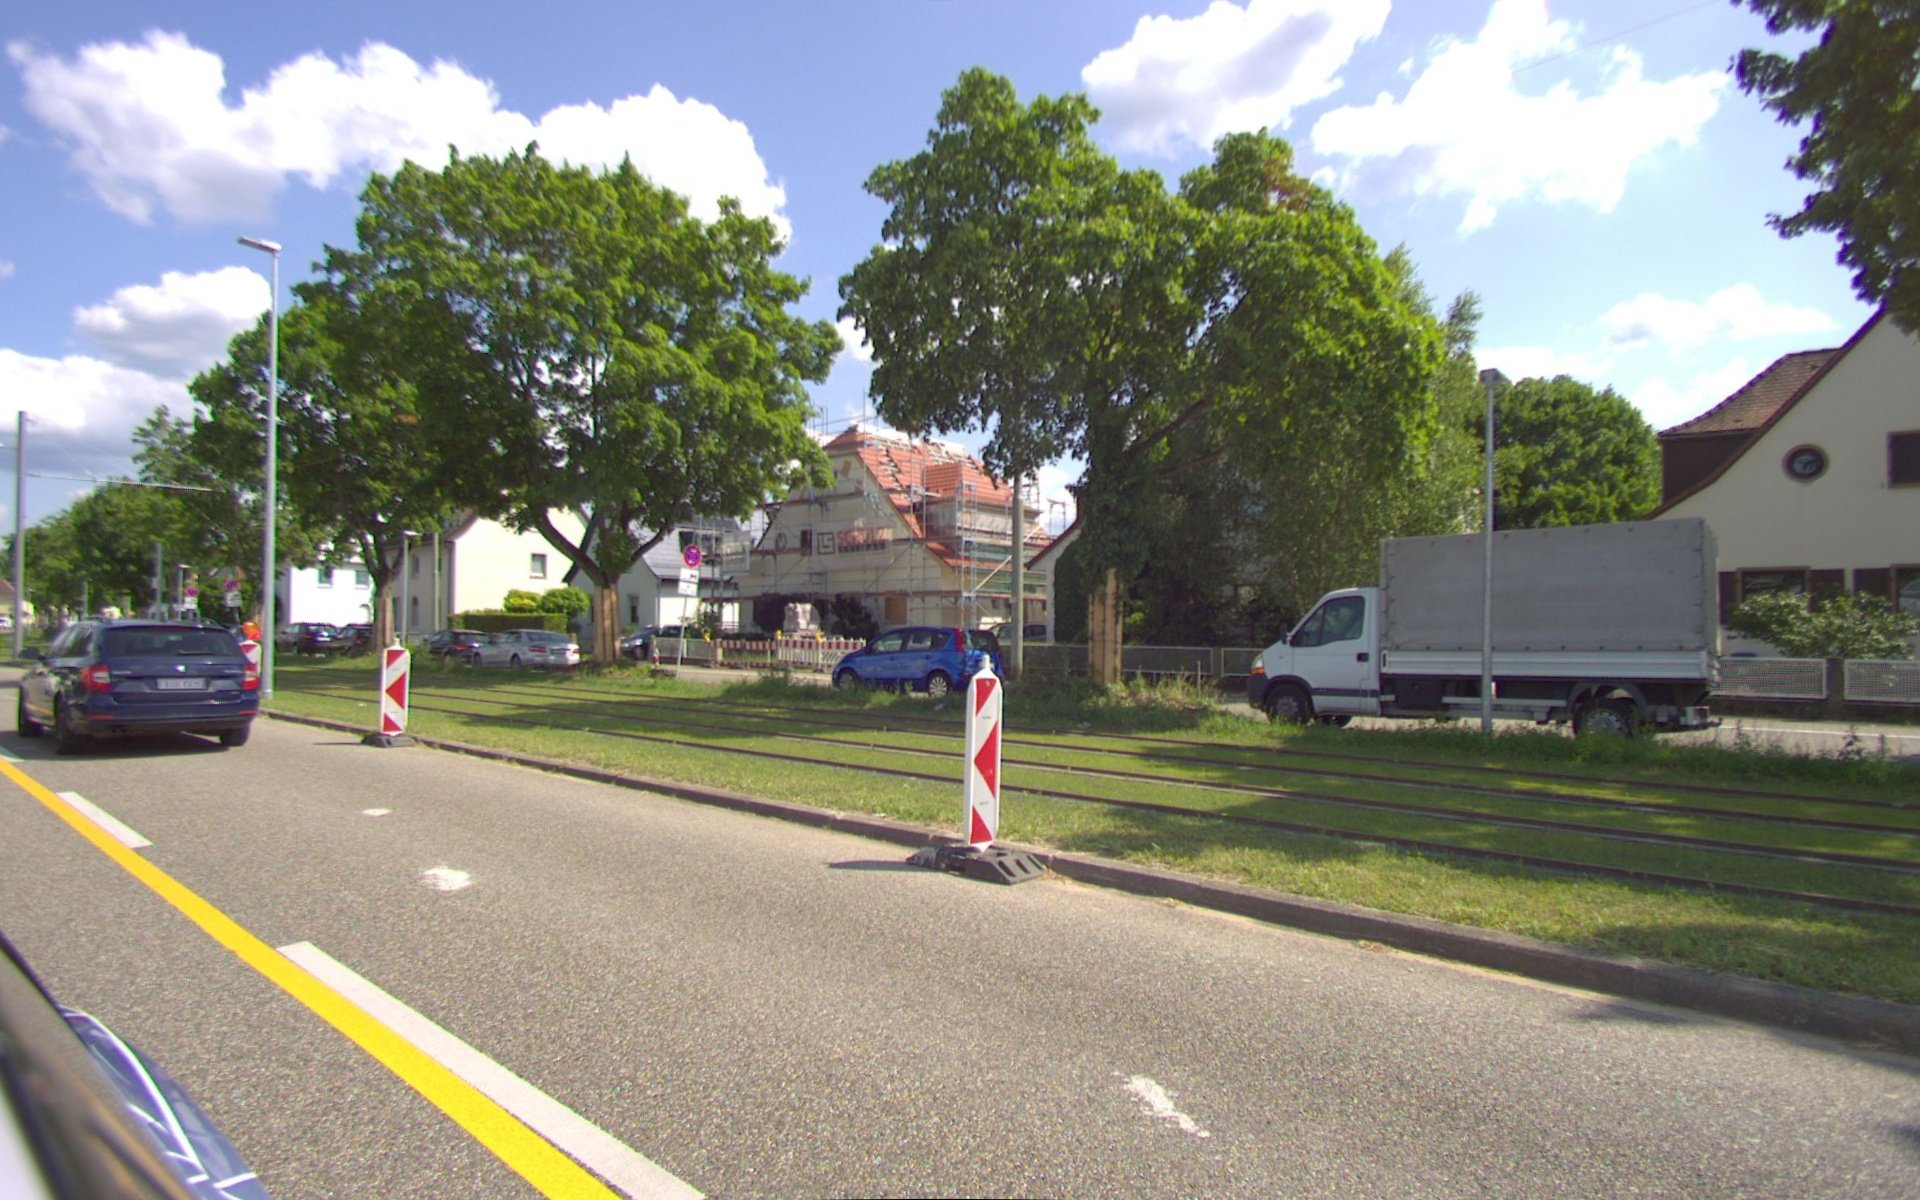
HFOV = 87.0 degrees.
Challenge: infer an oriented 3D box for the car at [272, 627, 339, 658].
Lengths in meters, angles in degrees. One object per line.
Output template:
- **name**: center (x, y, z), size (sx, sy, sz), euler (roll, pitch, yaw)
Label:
- **car**: center (-30.498, 1.945, 47.133), size (3.998, 1.311, 1.615), euler (-1, 0, 41)

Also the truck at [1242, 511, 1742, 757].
- **truck**: center (7.338, 0.404, 14.471), size (5.948, 2.826, 2.340), euler (-1, 0, 41)

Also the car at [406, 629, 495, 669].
- **car**: center (-18.504, 1.743, 36.717), size (3.785, 1.251, 1.604), euler (-1, 0, 41)

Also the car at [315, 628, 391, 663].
- **car**: center (-25.953, 1.906, 43.222), size (3.998, 1.311, 1.615), euler (-1, 0, 41)

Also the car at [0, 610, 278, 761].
- **car**: center (-9.995, 0.923, 12.186), size (4.532, 1.498, 1.694), euler (-1, -3, 39)

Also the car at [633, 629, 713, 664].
- **car**: center (-12.321, 1.972, 43.416), size (3.190, 1.393, 1.492), euler (-1, 0, -19)

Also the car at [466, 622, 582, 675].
- **car**: center (-14.212, 1.526, 32.862), size (4.522, 1.524, 1.685), euler (-1, 0, 41)

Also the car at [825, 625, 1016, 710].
- **car**: center (-0.885, 1.332, 21.170), size (3.929, 1.524, 1.651), euler (-1, 0, 41)
